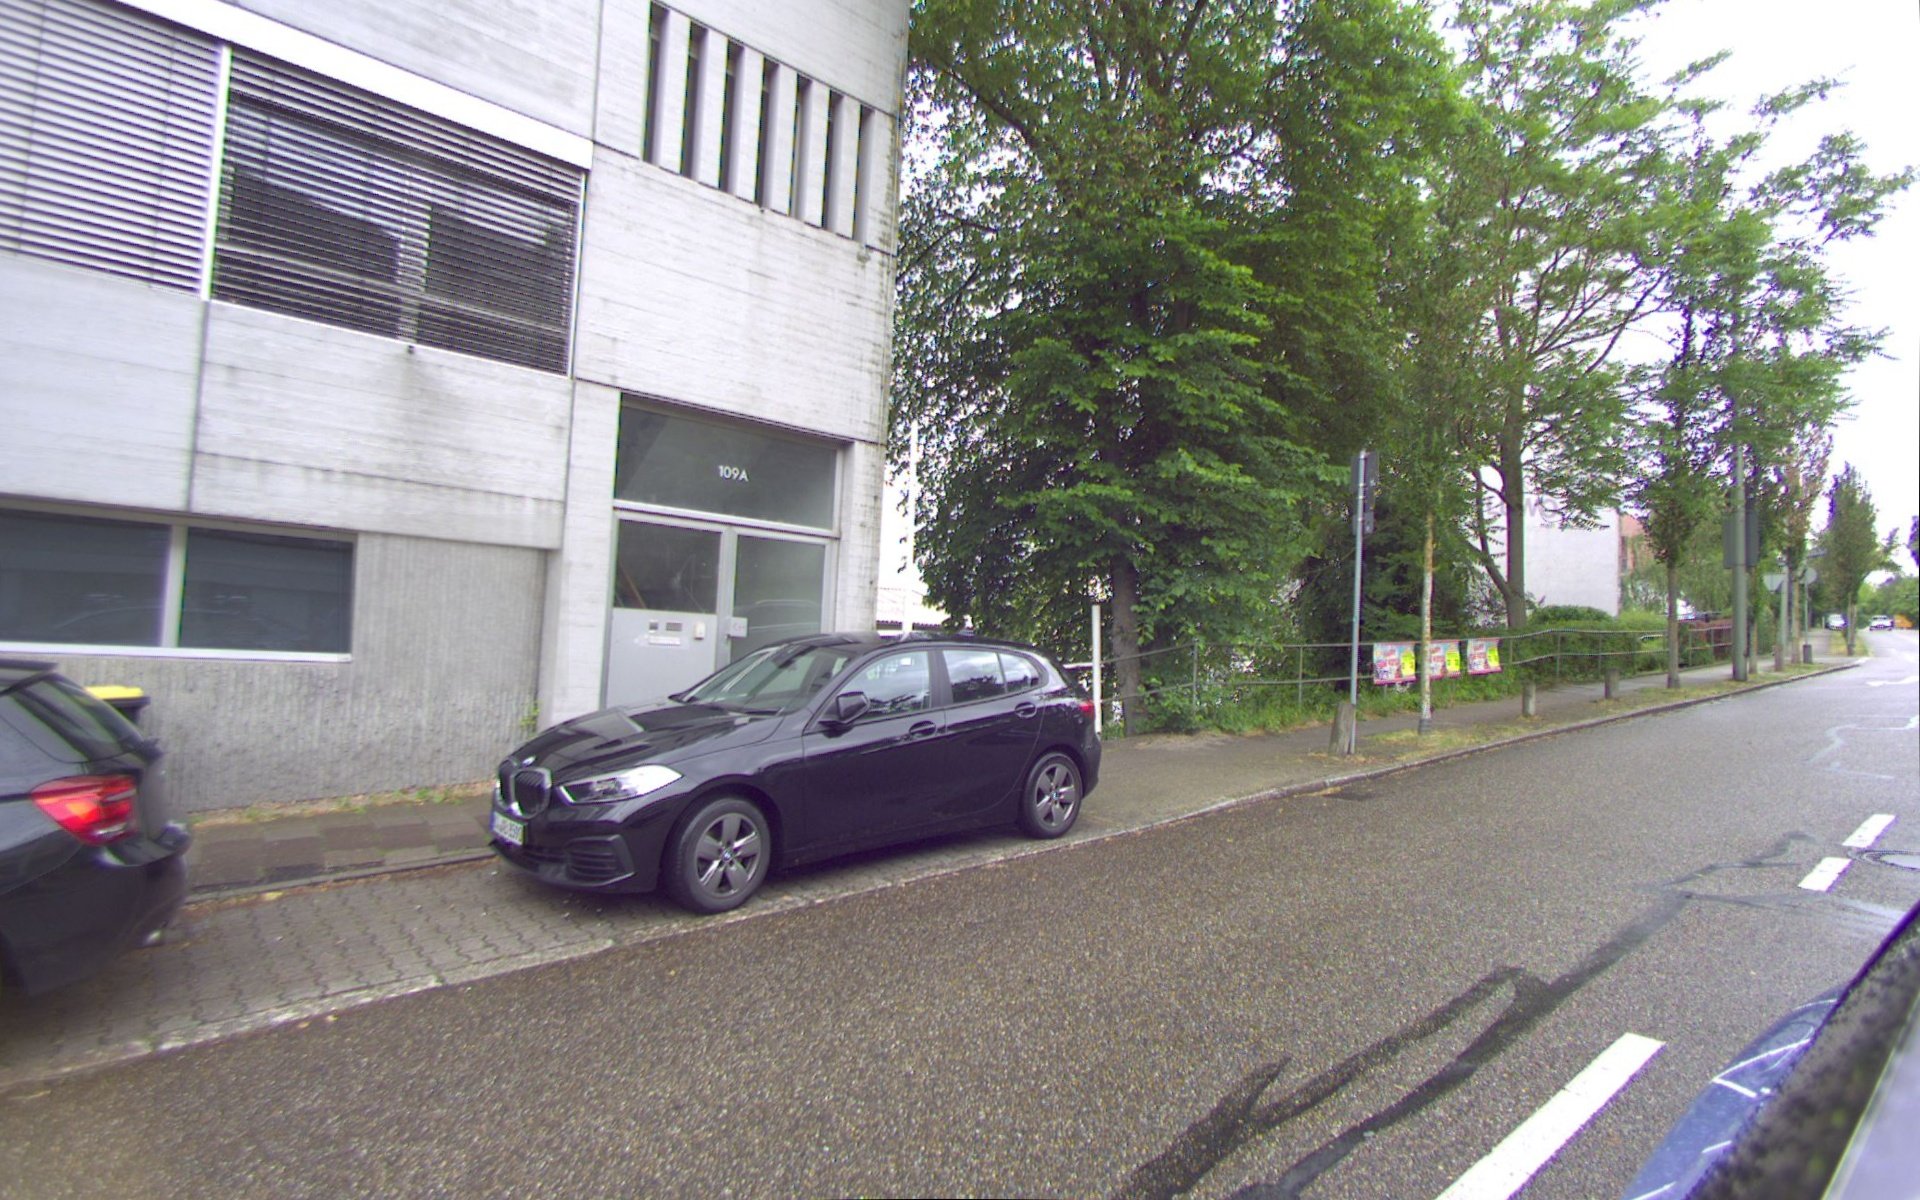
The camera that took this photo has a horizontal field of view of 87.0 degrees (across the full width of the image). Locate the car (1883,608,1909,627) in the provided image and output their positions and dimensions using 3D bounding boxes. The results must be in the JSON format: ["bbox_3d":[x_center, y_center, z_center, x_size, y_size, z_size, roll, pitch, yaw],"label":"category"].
[{"bbox_3d":[95.733,1.795,103.505,1.887,1.741,4.170,2,2,44],"label":"car"}]

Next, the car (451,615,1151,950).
[{"bbox_3d":[-0.834,0.878,6.926,4.367,1.453,1.996,0,1,-43],"label":"car"}]

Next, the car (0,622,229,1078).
[{"bbox_3d":[-4.898,0.850,3.166,4.173,1.466,1.753,0,0,-38],"label":"car"}]
